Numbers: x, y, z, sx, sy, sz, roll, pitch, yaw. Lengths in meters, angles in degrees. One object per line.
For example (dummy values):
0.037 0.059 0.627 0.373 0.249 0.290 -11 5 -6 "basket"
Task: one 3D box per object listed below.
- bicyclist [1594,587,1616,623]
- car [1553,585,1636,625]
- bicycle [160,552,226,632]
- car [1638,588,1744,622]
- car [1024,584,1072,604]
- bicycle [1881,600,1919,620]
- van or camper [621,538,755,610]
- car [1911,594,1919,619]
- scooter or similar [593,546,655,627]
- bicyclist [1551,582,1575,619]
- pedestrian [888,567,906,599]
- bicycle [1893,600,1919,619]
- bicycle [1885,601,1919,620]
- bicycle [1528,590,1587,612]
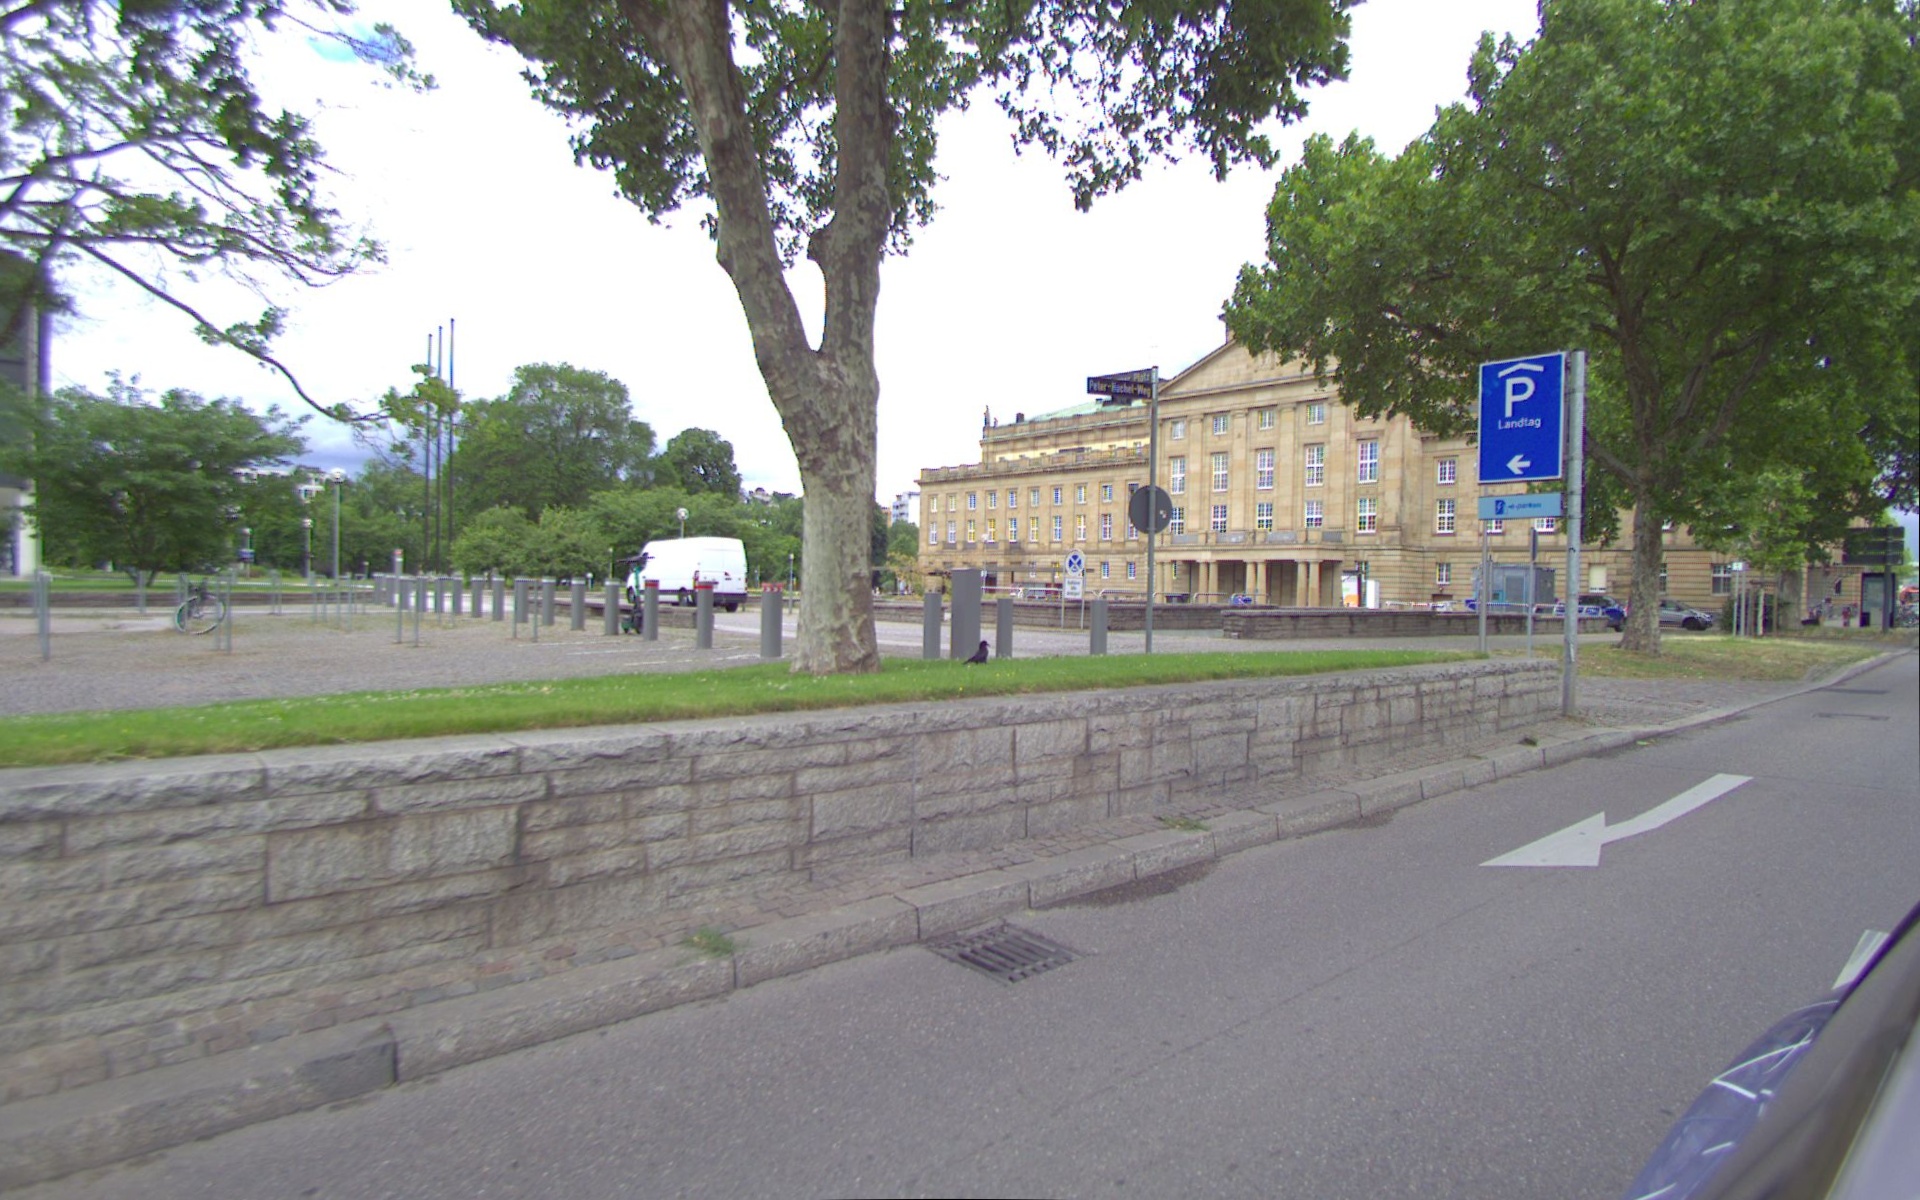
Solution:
36.944 0.281 58.016 0.868 2.039 0.838 -1 -1 22 "bicyclist"
26.543 0.234 42.282 4.142 1.537 1.767 2 0 -40 "car"
-11.964 -0.156 15.754 0.674 1.155 2.196 1 1 -41 "bicycle"
36.085 0.252 50.025 1.705 1.616 3.991 -1 0 -42 "car"
7.869 -0.545 90.342 1.966 1.739 3.992 -1 0 -42 "car"
54.060 0.590 57.974 1.910 1.112 0.533 1 1 41 "bicycle"
-9.733 -0.904 35.879 2.281 2.348 5.706 -2 2 -41 "van or camper"
64.302 0.420 66.789 3.930 1.550 1.842 -1 2 -40 "car"
-5.395 -0.229 16.243 0.716 1.262 0.717 -1 3 -43 "scooter or similar"
33.974 0.011 57.049 1.094 2.039 1.001 1 -1 30 "bicyclist"
-4.136 -1.100 66.321 0.800 2.039 0.858 -1 0 -37 "pedestrian"
56.086 0.588 59.440 1.824 1.086 0.527 1 0 29 "bicycle"
54.623 0.615 58.342 1.833 1.086 0.610 1 1 41 "bicycle"
33.723 0.040 57.131 2.822 1.200 1.085 1 1 32 "bicycle"
